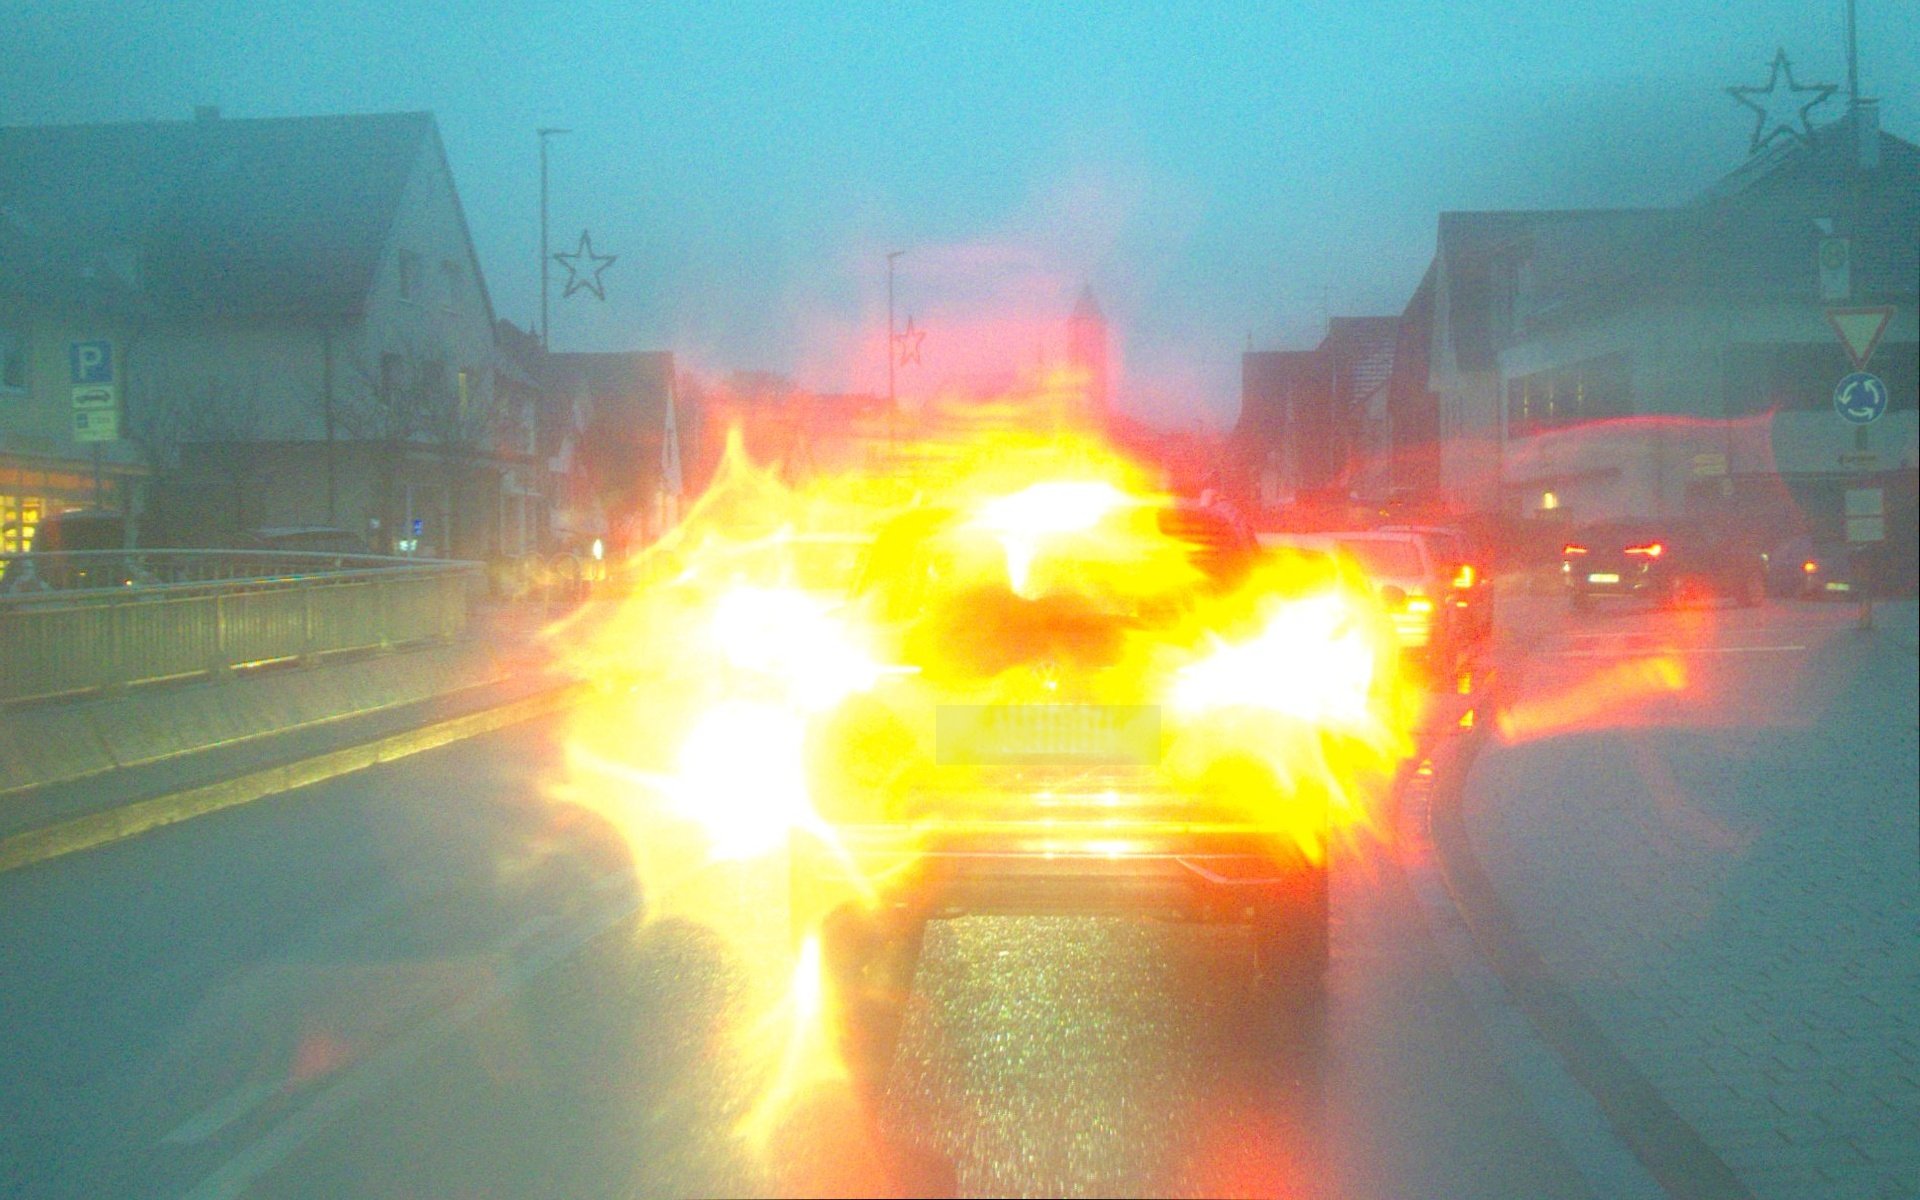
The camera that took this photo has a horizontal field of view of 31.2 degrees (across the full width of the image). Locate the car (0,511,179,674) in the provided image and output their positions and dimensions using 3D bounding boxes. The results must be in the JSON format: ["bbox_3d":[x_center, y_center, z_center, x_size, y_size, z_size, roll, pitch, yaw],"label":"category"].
[{"bbox_3d":[-11.141,-0.133,43.327,2.037,1.919,4.058,-1,1,-19],"label":"car"}]

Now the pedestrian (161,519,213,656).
[{"bbox_3d":[-9.775,-0.163,43.453,0.495,1.695,0.713,-3,1,-19],"label":"pedestrian"}]

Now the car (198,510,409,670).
[{"bbox_3d":[-8.451,-0.169,44.020,2.037,1.919,4.058,-1,1,-19],"label":"car"}]

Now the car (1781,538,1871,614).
[{"bbox_3d":[17.812,-0.510,70.834,1.566,1.408,3.600,-4,0,12],"label":"car"}]

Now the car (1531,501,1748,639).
[{"bbox_3d":[11.103,-0.519,55.947,2.161,1.984,4.493,-3,1,28],"label":"car"}]

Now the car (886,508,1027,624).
[{"bbox_3d":[-0.009,-0.533,51.323,1.737,1.647,4.000,-1,1,5],"label":"car"}]

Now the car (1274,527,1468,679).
[{"bbox_3d":[4.151,-0.015,34.827,1.815,1.407,3.999,1,2,7],"label":"car"}]

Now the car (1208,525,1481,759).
[{"bbox_3d":[2.656,0.227,23.306,1.683,1.448,3.999,0,1,8],"label":"car"}]

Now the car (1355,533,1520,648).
[{"bbox_3d":[6.119,-0.152,44.265,1.994,1.387,3.999,-1,1,7],"label":"car"}]

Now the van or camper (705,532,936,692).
[{"bbox_3d":[-1.211,0.071,31.268,1.562,1.351,3.421,-1,1,7],"label":"van or camper"}]

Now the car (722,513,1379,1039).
[{"bbox_3d":[0.528,0.487,12.830,1.965,1.589,4.312,1,1,8],"label":"car"}]
